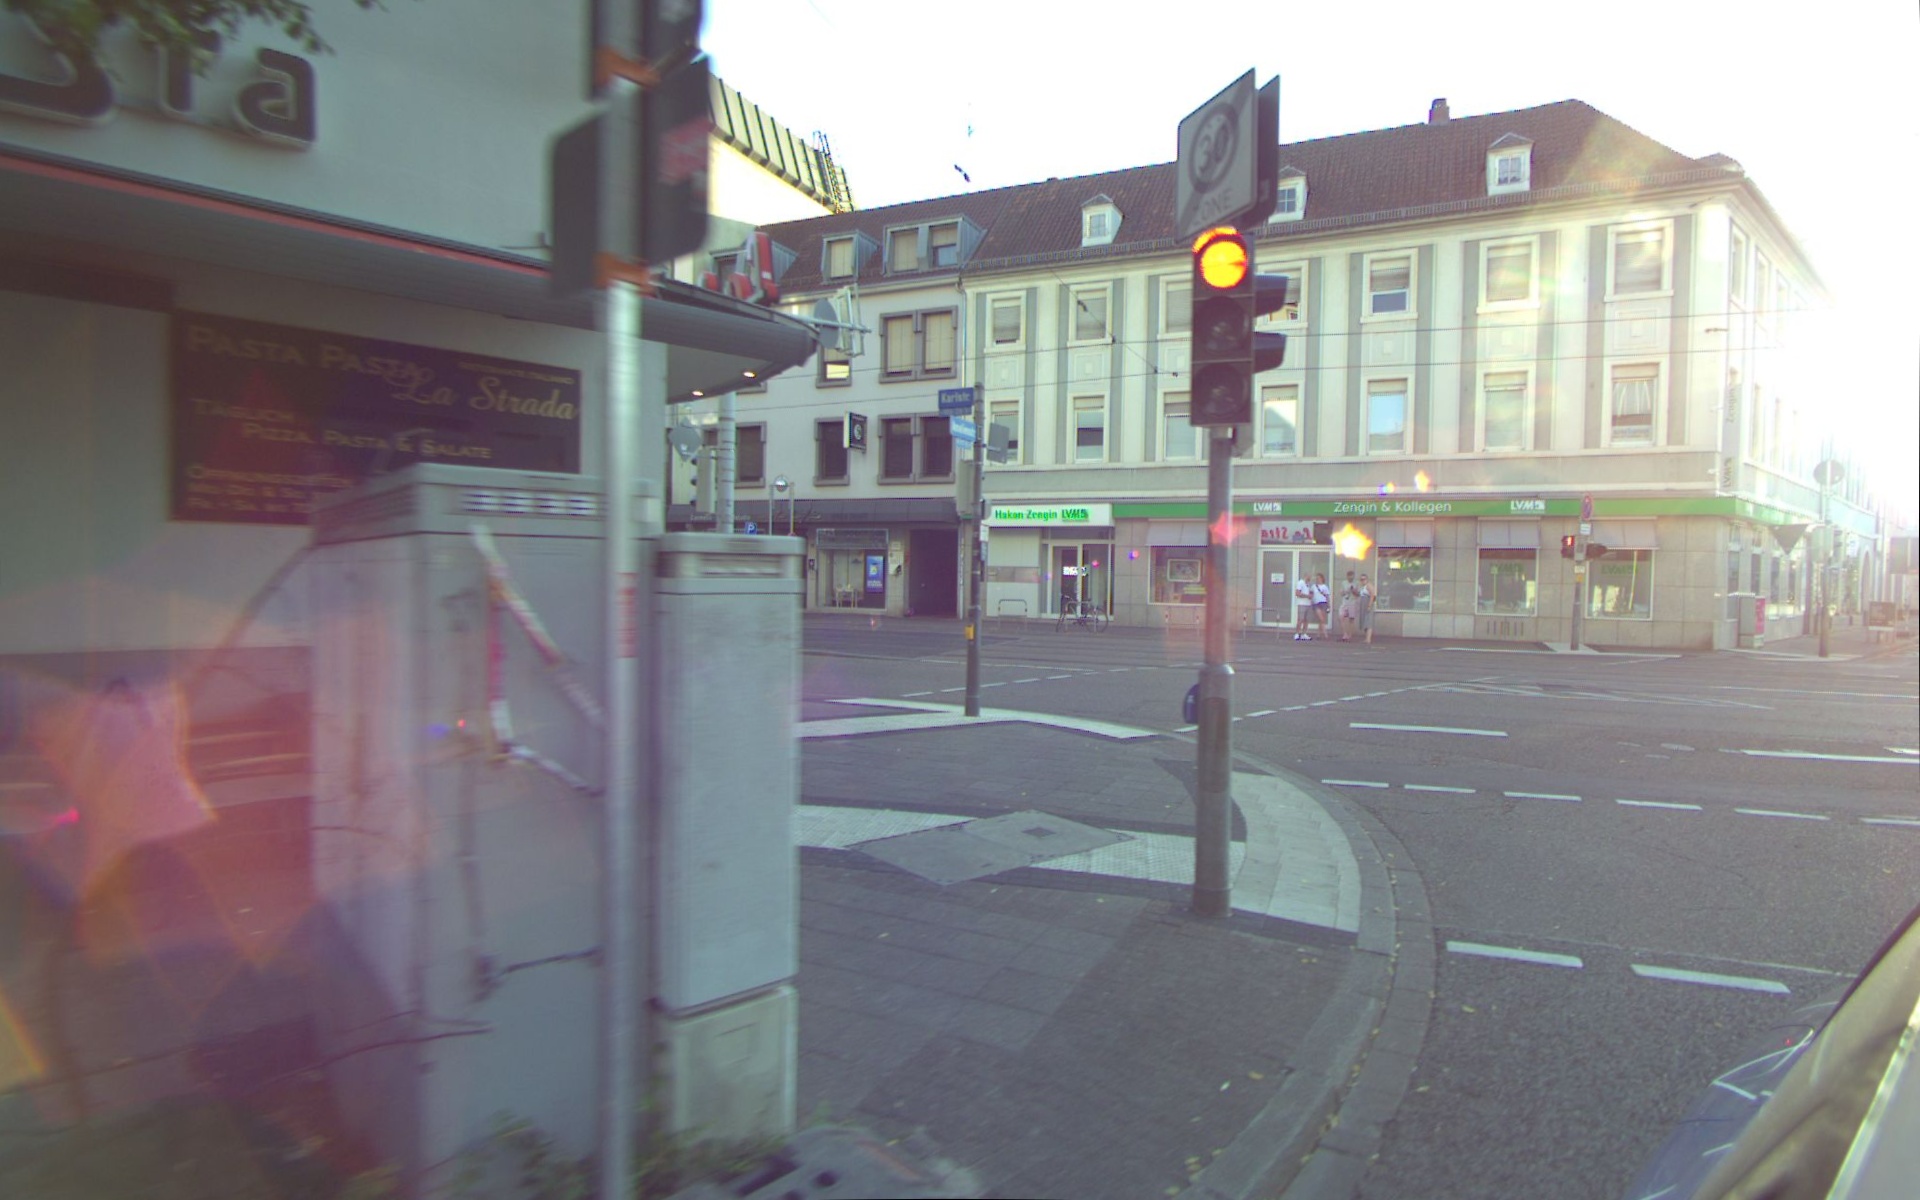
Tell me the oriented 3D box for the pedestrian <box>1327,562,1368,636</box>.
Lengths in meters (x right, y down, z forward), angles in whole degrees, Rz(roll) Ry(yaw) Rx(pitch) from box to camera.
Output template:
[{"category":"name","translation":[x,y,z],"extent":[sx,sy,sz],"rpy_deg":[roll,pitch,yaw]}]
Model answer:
[{"category":"pedestrian","translation":[9.968,-0.039,26.007],"extent":[0.775,1.835,0.895],"rpy_deg":[0,1,37]}]

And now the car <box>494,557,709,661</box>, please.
[{"category":"car","translation":[-6.671,0.047,18.579],"extent":[4.469,1.486,1.951],"rpy_deg":[4,7,45]}]

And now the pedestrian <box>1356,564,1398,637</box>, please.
[{"category":"pedestrian","translation":[10.473,-0.008,25.407],"extent":[0.775,1.794,0.895],"rpy_deg":[0,1,37]}]

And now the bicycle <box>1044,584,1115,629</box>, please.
[{"category":"bicycle","translation":[3.313,0.175,28.081],"extent":[1.857,1.199,0.689],"rpy_deg":[0,1,30]}]

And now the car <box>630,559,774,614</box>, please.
[{"category":"car","translation":[-8.612,-0.496,33.737],"extent":[4.462,1.724,1.983],"rpy_deg":[1,2,25]}]

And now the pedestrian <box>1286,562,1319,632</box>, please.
[{"category":"pedestrian","translation":[8.949,-0.080,26.439],"extent":[0.675,1.794,0.764],"rpy_deg":[0,1,8]}]

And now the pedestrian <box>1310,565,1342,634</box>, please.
[{"category":"pedestrian","translation":[9.576,-0.025,26.494],"extent":[0.672,1.794,0.628],"rpy_deg":[0,1,8]}]
